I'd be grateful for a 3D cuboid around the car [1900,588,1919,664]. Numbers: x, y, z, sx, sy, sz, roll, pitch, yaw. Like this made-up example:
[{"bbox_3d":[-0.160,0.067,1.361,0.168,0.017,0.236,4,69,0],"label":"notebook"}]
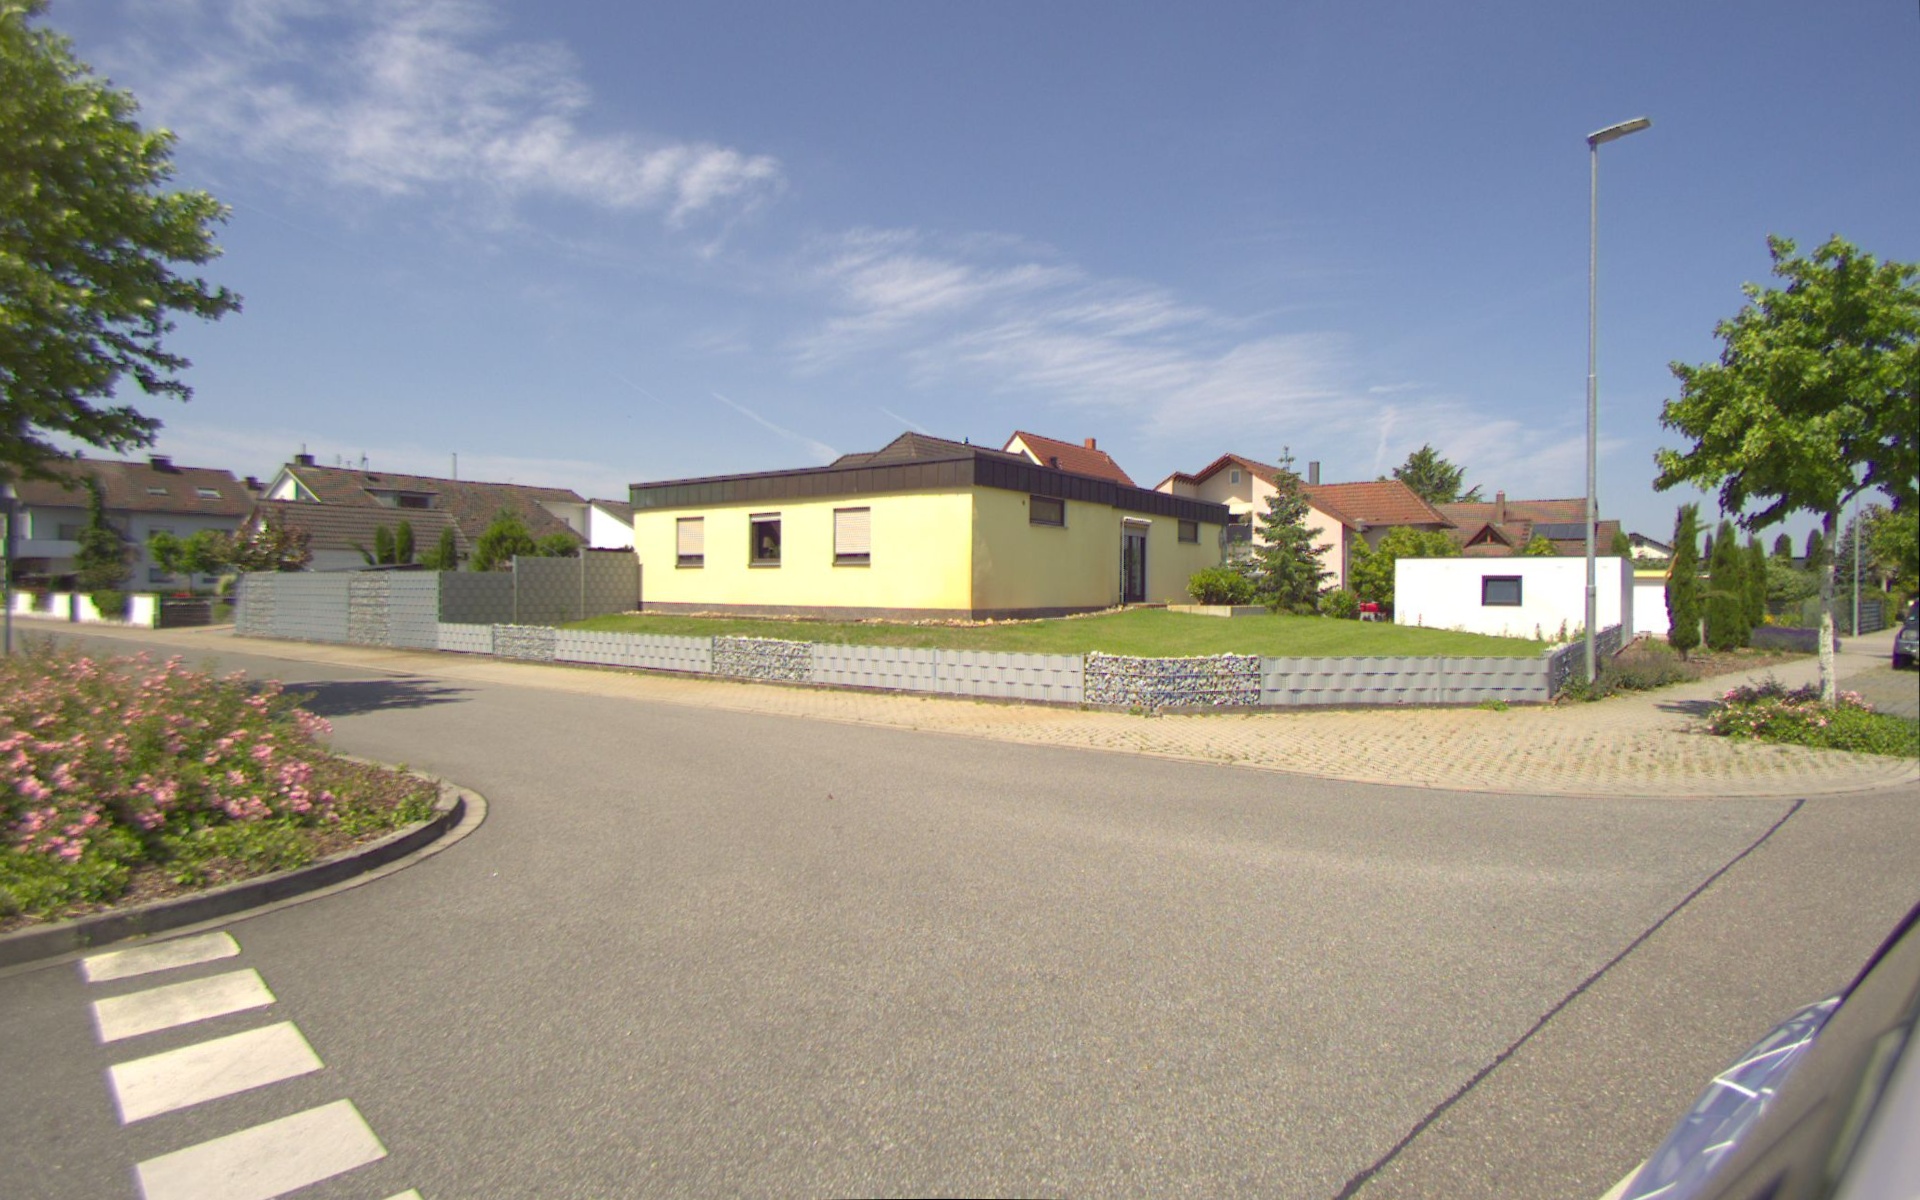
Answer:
[{"bbox_3d":[22.726,0.576,22.918,3.735,1.660,1.598,0,2,-40],"label":"car"}]
